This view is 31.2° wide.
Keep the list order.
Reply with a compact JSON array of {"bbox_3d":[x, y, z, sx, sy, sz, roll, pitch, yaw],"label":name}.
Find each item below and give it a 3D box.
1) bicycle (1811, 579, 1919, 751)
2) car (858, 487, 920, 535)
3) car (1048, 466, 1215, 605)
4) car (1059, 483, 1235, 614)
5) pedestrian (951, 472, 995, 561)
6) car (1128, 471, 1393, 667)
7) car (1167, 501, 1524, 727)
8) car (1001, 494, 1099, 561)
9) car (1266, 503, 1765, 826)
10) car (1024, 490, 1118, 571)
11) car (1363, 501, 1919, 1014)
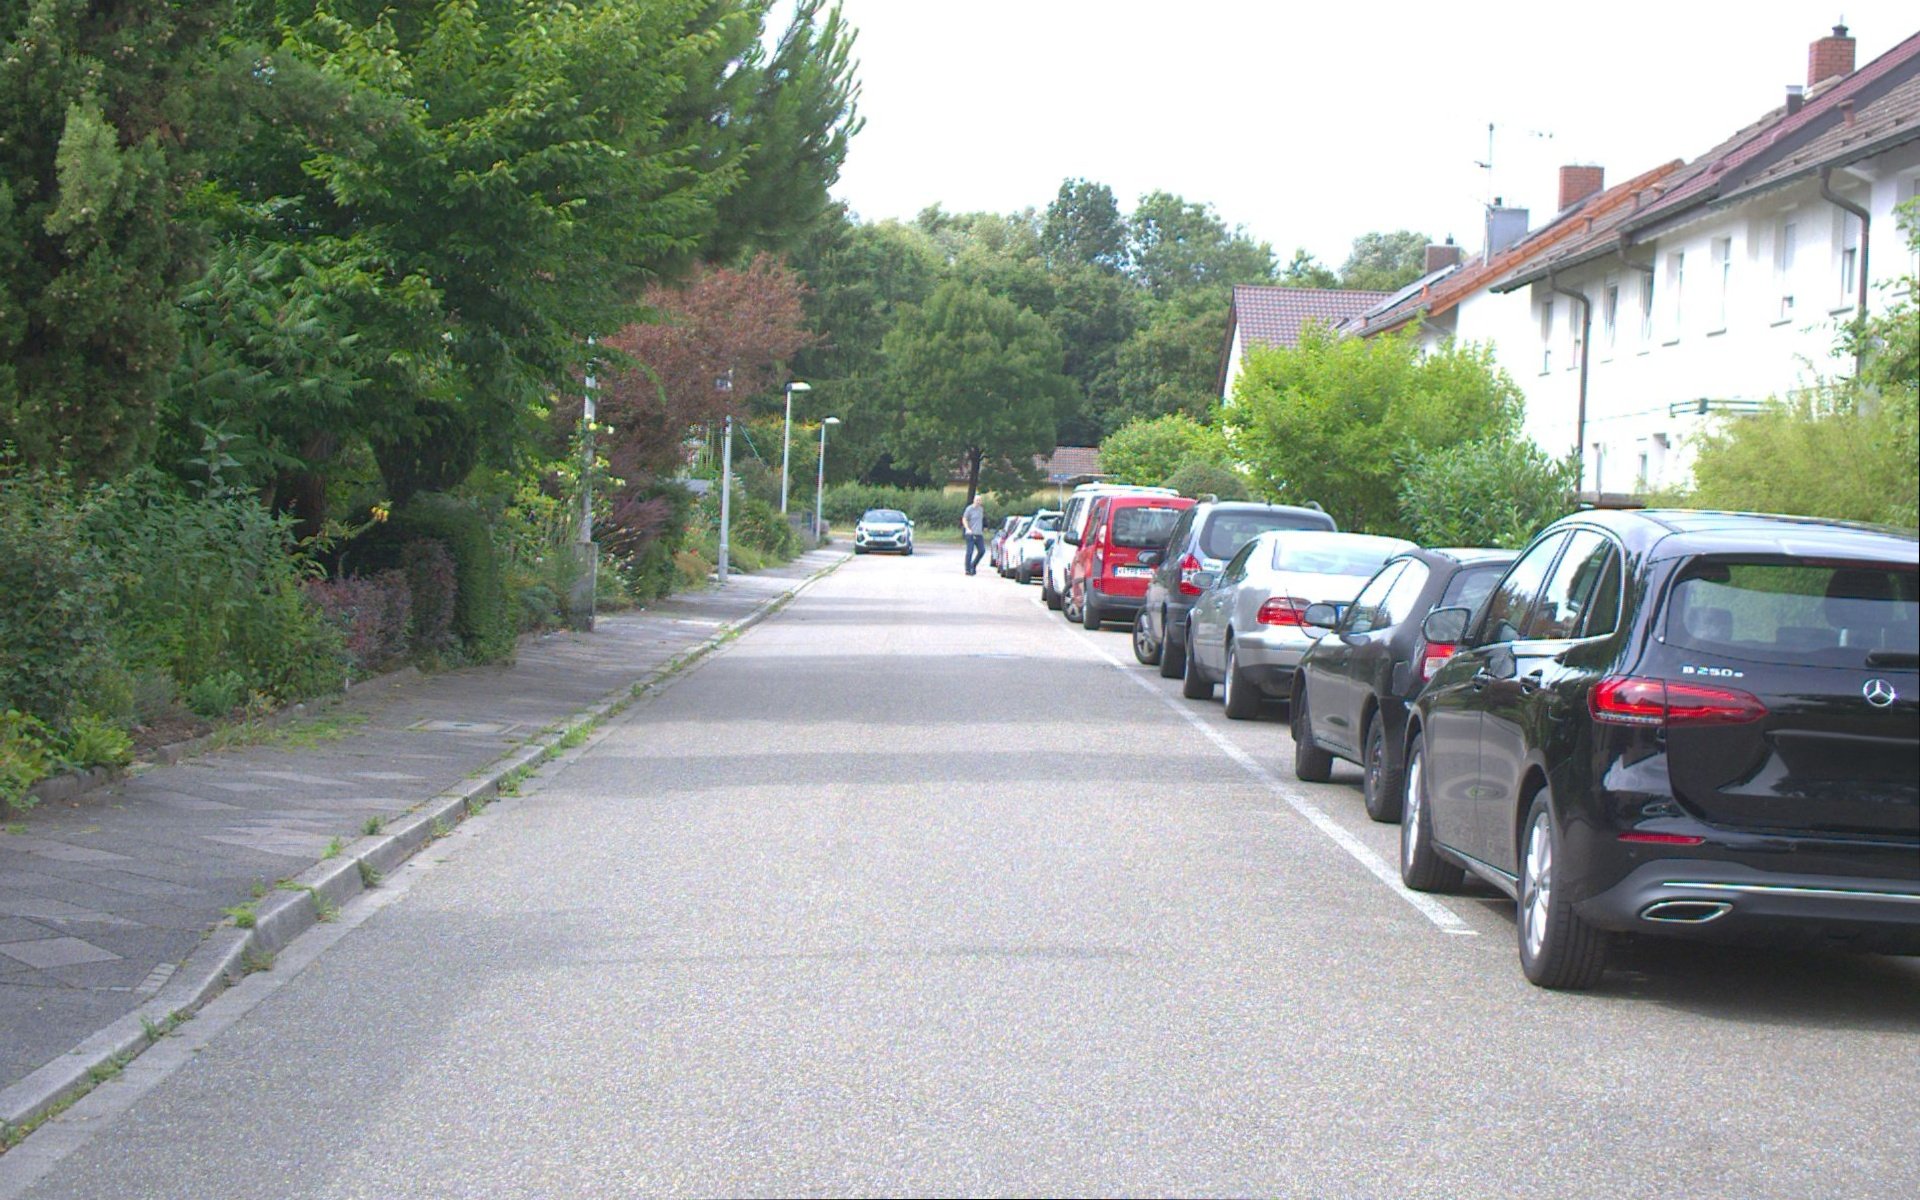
[{"bbox_3d":[6.071,0.412,21.149,1.538,1.019,0.376,2,2,5],"label":"bicycle"},{"bbox_3d":[-2.386,-3.022,116.071,1.934,1.551,4.635,2,2,0],"label":"car"},{"bbox_3d":[2.517,-1.010,51.631,2.020,1.940,4.748,1,2,-2],"label":"car"},{"bbox_3d":[2.484,-0.741,46.636,1.810,1.645,4.412,1,2,-4],"label":"car"},{"bbox_3d":[0.302,-1.913,78.816,0.948,2.006,0.915,2,2,1],"label":"pedestrian"},{"bbox_3d":[2.756,-0.349,32.469,1.867,1.647,4.465,2,2,-2],"label":"car"},{"bbox_3d":[2.798,0.027,26.037,1.867,1.402,4.768,4,2,-3],"label":"car"},{"bbox_3d":[2.024,-1.687,78.831,1.838,1.408,4.638,1,2,-3],"label":"car"},{"bbox_3d":[2.789,0.247,18.172,1.732,1.423,4.127,2,2,-3],"label":"car"},{"bbox_3d":[2.277,-1.463,71.485,1.714,1.538,3.974,4,2,0],"label":"car"},{"bbox_3d":[2.675,0.416,12.516,1.749,1.462,4.648,2,2,-1],"label":"car"}]
